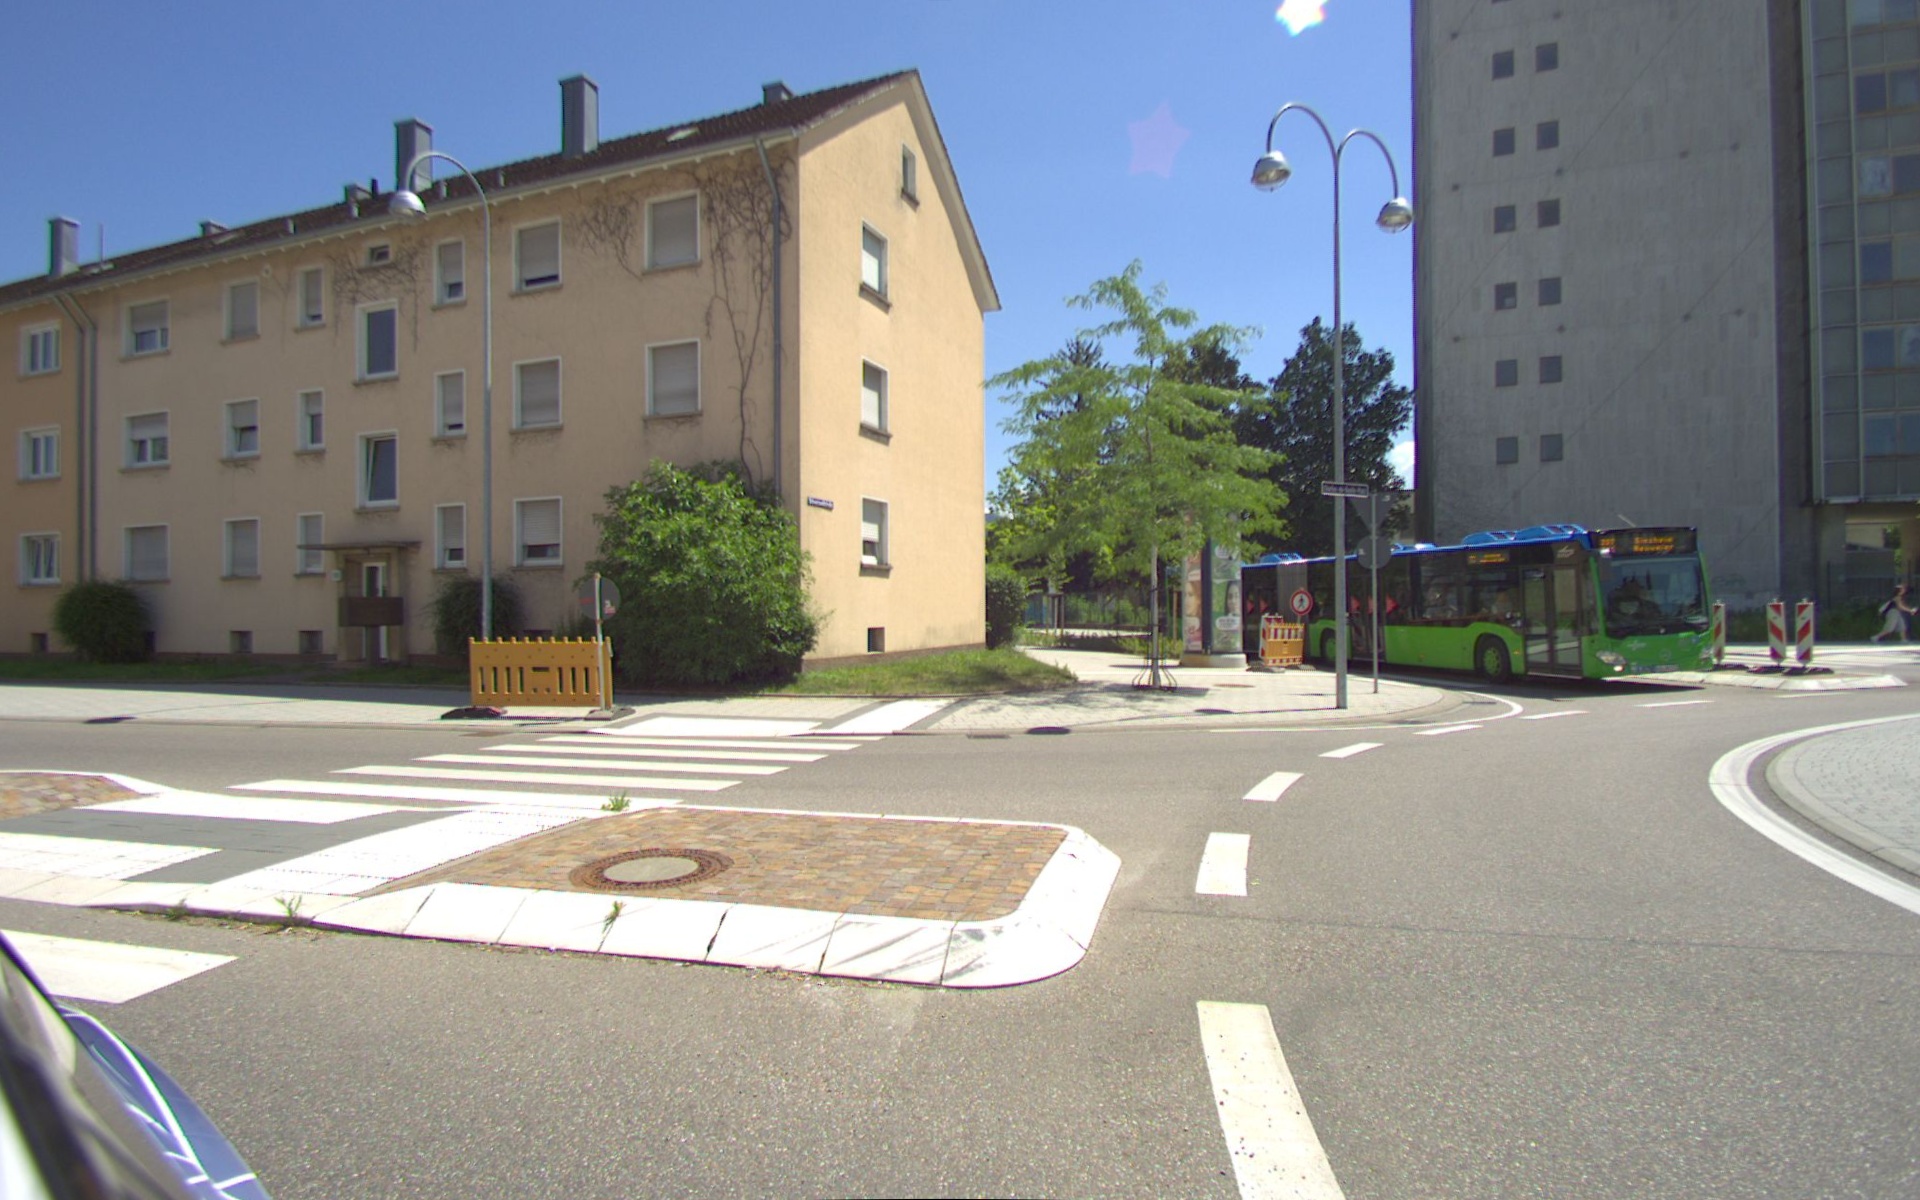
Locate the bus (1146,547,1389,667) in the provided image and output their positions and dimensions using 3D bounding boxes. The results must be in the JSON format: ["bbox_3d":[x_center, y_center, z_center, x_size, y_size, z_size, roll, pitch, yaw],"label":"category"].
[{"bbox_3d":[9.211,0.227,31.887,2.783,3.134,8.949,-3,0,-16],"label":"bus"}]

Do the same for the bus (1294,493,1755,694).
[{"bbox_3d":[11.496,-0.095,22.524,2.915,3.349,10.108,-3,0,-12],"label":"bus"}]

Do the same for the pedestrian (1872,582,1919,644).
[{"bbox_3d":[25.113,0.342,26.858,1.281,1.597,0.936,-1,-1,41],"label":"pedestrian"}]
